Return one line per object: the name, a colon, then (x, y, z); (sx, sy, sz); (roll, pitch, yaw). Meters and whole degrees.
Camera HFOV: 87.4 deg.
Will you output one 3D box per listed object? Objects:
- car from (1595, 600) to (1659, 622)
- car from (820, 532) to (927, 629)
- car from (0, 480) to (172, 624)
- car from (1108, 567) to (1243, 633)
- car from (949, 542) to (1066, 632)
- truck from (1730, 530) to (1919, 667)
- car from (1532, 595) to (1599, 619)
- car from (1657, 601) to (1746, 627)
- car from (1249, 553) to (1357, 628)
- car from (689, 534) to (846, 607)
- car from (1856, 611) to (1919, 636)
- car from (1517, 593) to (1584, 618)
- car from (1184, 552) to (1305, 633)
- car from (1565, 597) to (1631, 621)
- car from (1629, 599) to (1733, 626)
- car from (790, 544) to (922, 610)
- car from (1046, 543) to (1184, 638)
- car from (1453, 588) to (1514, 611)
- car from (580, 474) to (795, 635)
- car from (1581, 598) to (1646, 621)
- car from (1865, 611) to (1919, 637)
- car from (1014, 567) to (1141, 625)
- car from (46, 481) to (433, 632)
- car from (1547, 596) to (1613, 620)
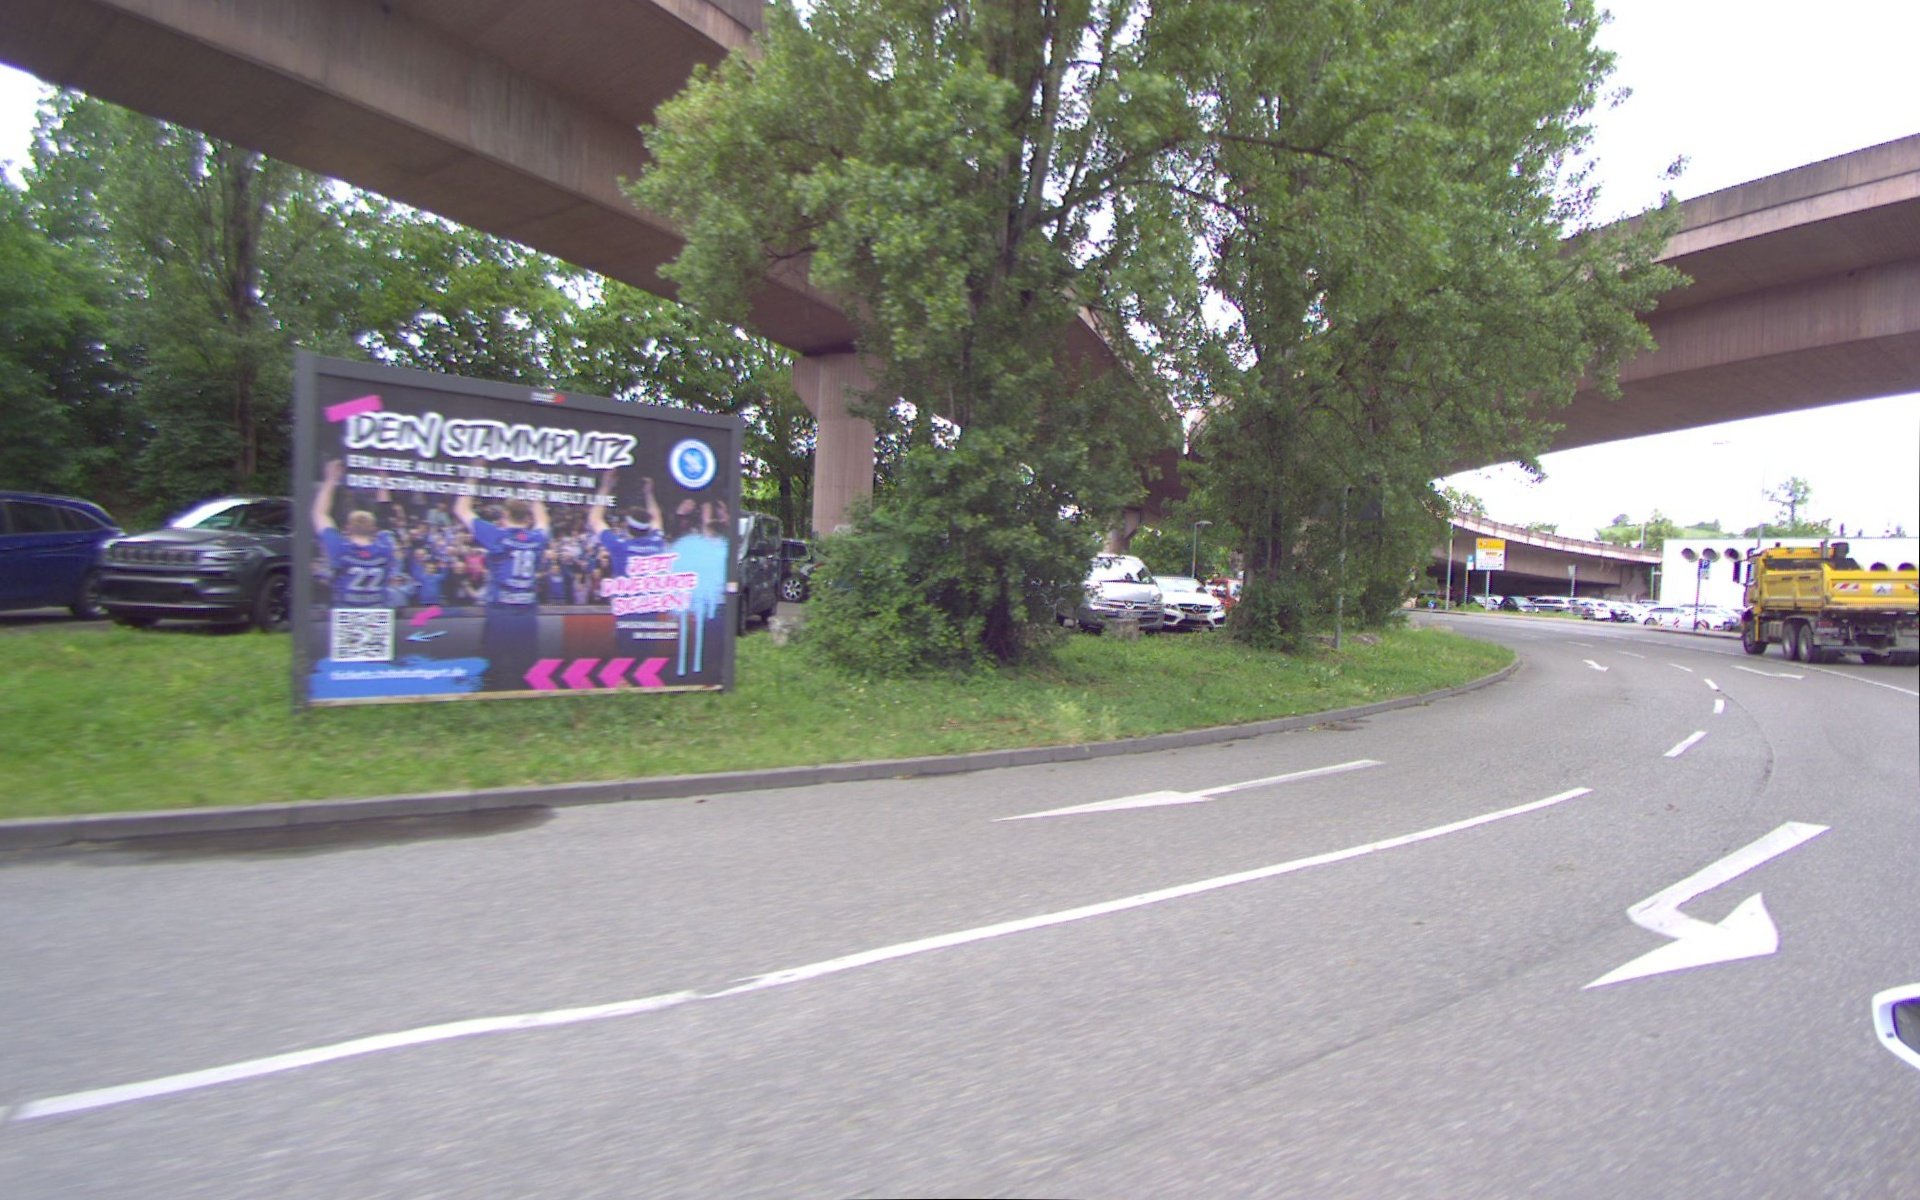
car: (52.632, 0.854, 79.335); (1.755, 1.655, 3.853); (3, 0, -28)
car: (-1.675, -0.256, 18.984); (1.777, 1.503, 4.447); (0, -3, -6)
car: (-11.157, -0.547, 10.818); (2.039, 1.508, 4.846); (2, 0, -9)
car: (5.390, 0.007, 25.875); (2.081, 1.462, 4.789); (2, 0, -4)
car: (0.854, -0.163, 20.729); (1.961, 1.573, 4.370); (0, -3, -4)
truck: (25.863, -0.026, 29.975); (2.881, 3.528, 8.237); (0, 0, 25)
car: (44.710, 0.480, 74.281); (1.755, 1.655, 3.853); (3, 0, -28)
car: (45.926, 0.852, 62.292); (1.976, 1.461, 3.970); (3, 0, -28)
car: (10.283, -0.308, 30.426); (1.960, 2.041, 4.000); (2, 1, 3)
car: (-5.496, -0.889, 28.813); (4.000, 1.735, 1.659); (5, 4, 11)
car: (60.893, 1.524, 65.217); (1.615, 1.461, 3.685); (3, 0, -28)
car: (42.678, 0.368, 72.671); (1.755, 1.655, 3.851); (3, 0, -29)
car: (7.934, -0.236, 28.448); (1.961, 2.041, 4.448); (2, 1, -2)
car: (48.678, 0.661, 76.662); (1.755, 1.655, 3.853); (3, 0, -28)
car: (43.770, 0.749, 61.097); (1.976, 1.461, 4.800); (3, 0, -28)
car: (-3.193, -0.747, 30.930); (3.615, 1.691, 1.681); (5, 4, 18)
car: (3.262, -0.179, 22.059); (1.977, 1.815, 4.397); (2, 0, -5)
car: (40.440, -0.052, 77.643); (1.755, 1.655, 3.853); (3, 0, -28)
car: (-4.197, -0.652, 16.483); (2.216, 2.099, 5.104); (4, 1, -3)
car: (50.647, 0.747, 77.944); (1.755, 1.655, 3.853); (3, 0, -28)
car: (63.974, 1.607, 67.739); (1.832, 1.567, 3.971); (-1, 2, -27)
car: (4.318, -0.124, 37.378); (4.364, 1.807, 2.000); (-3, -2, -3)
car: (-8.819, -0.465, 12.909); (1.860, 1.532, 4.448); (2, 0, -2)
car: (46.719, 0.569, 75.799); (1.755, 1.655, 3.853); (3, 0, -28)
